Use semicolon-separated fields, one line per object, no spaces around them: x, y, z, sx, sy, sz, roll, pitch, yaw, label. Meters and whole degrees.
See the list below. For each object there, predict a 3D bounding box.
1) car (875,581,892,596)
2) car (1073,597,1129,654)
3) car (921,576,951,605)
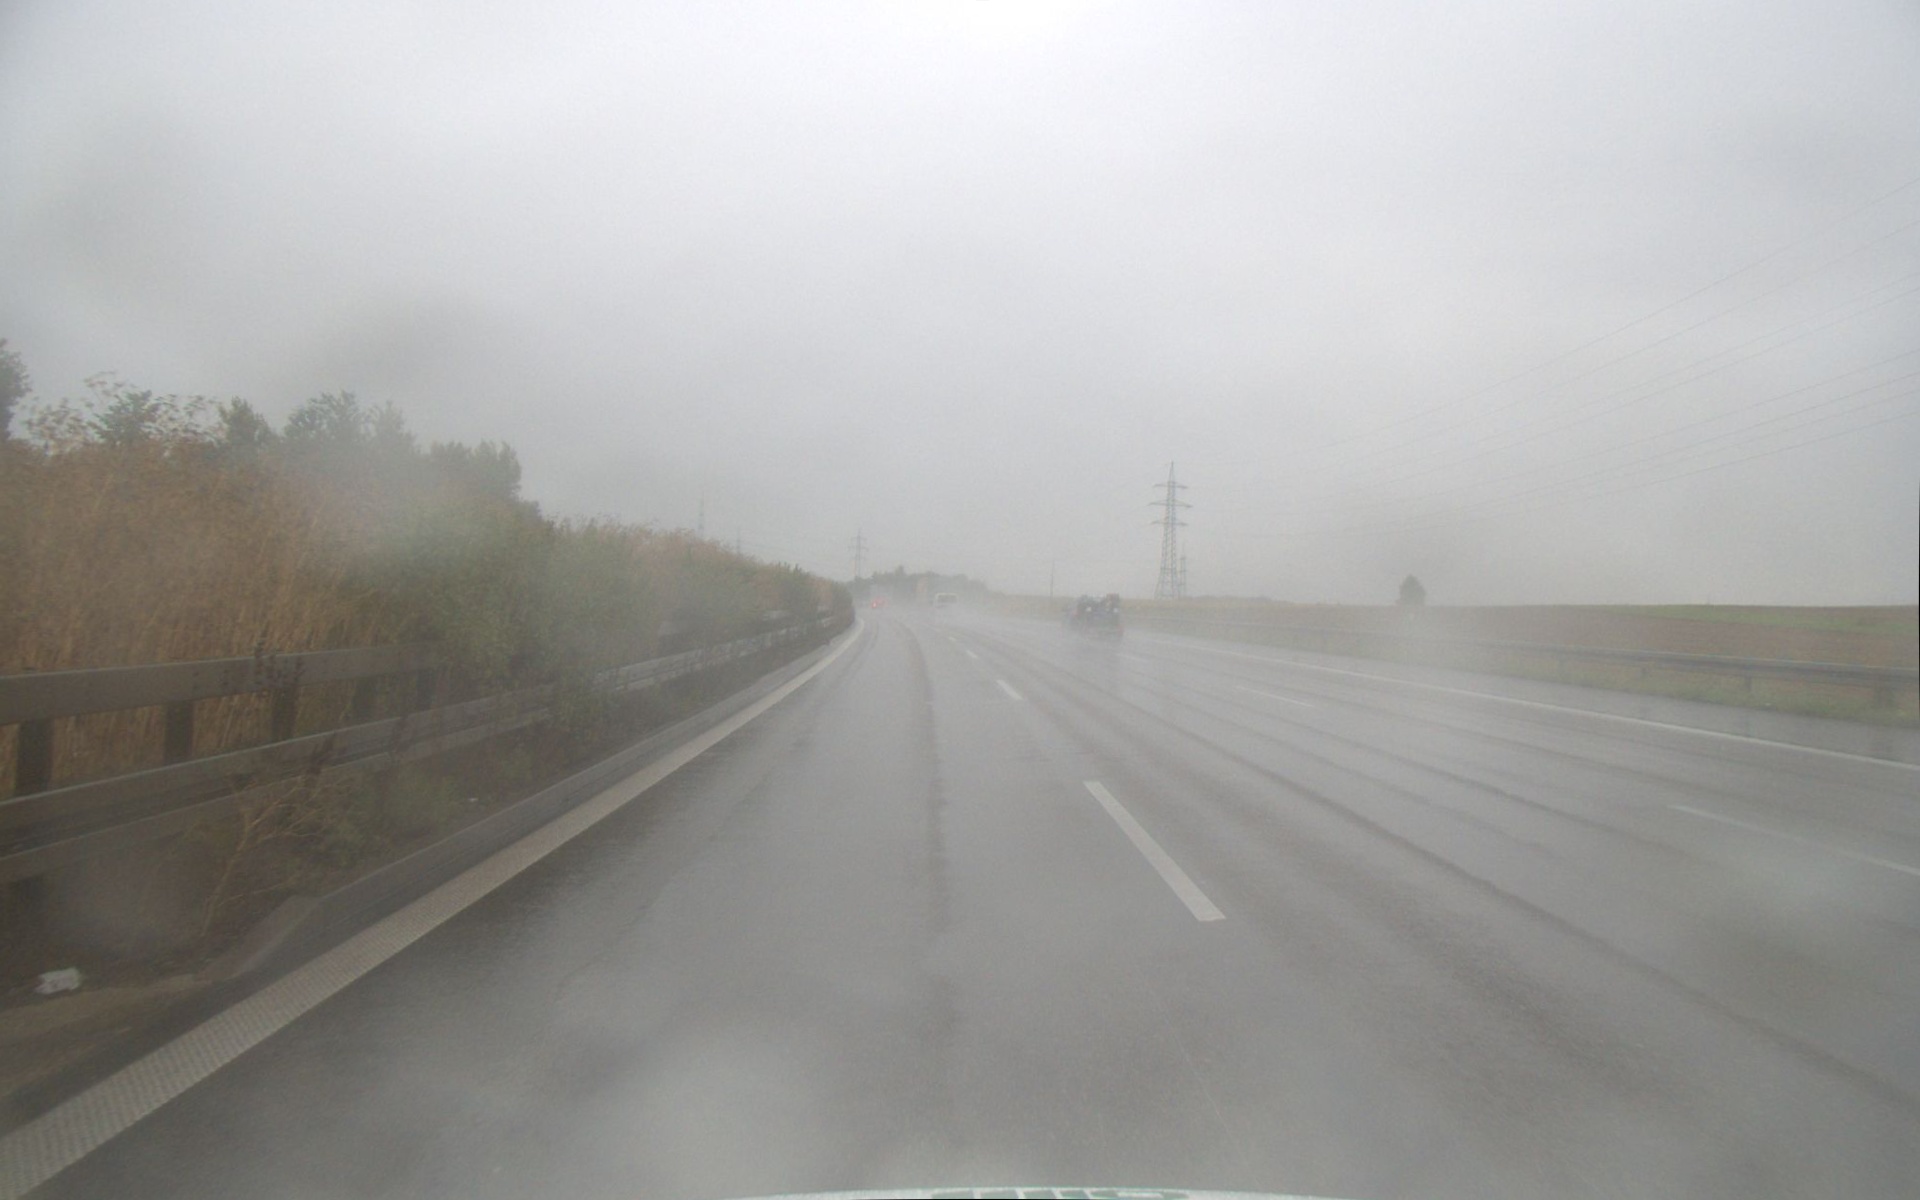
-12.118;-1.801;260.834;2.506;2.288;5.349;1;0;-4;car
5.637;0.989;66.554;1.770;2.196;3.999;1;0;-1;car
-2.757;-1.059;189.076;3.136;3.248;7.252;1;0;-3;car
